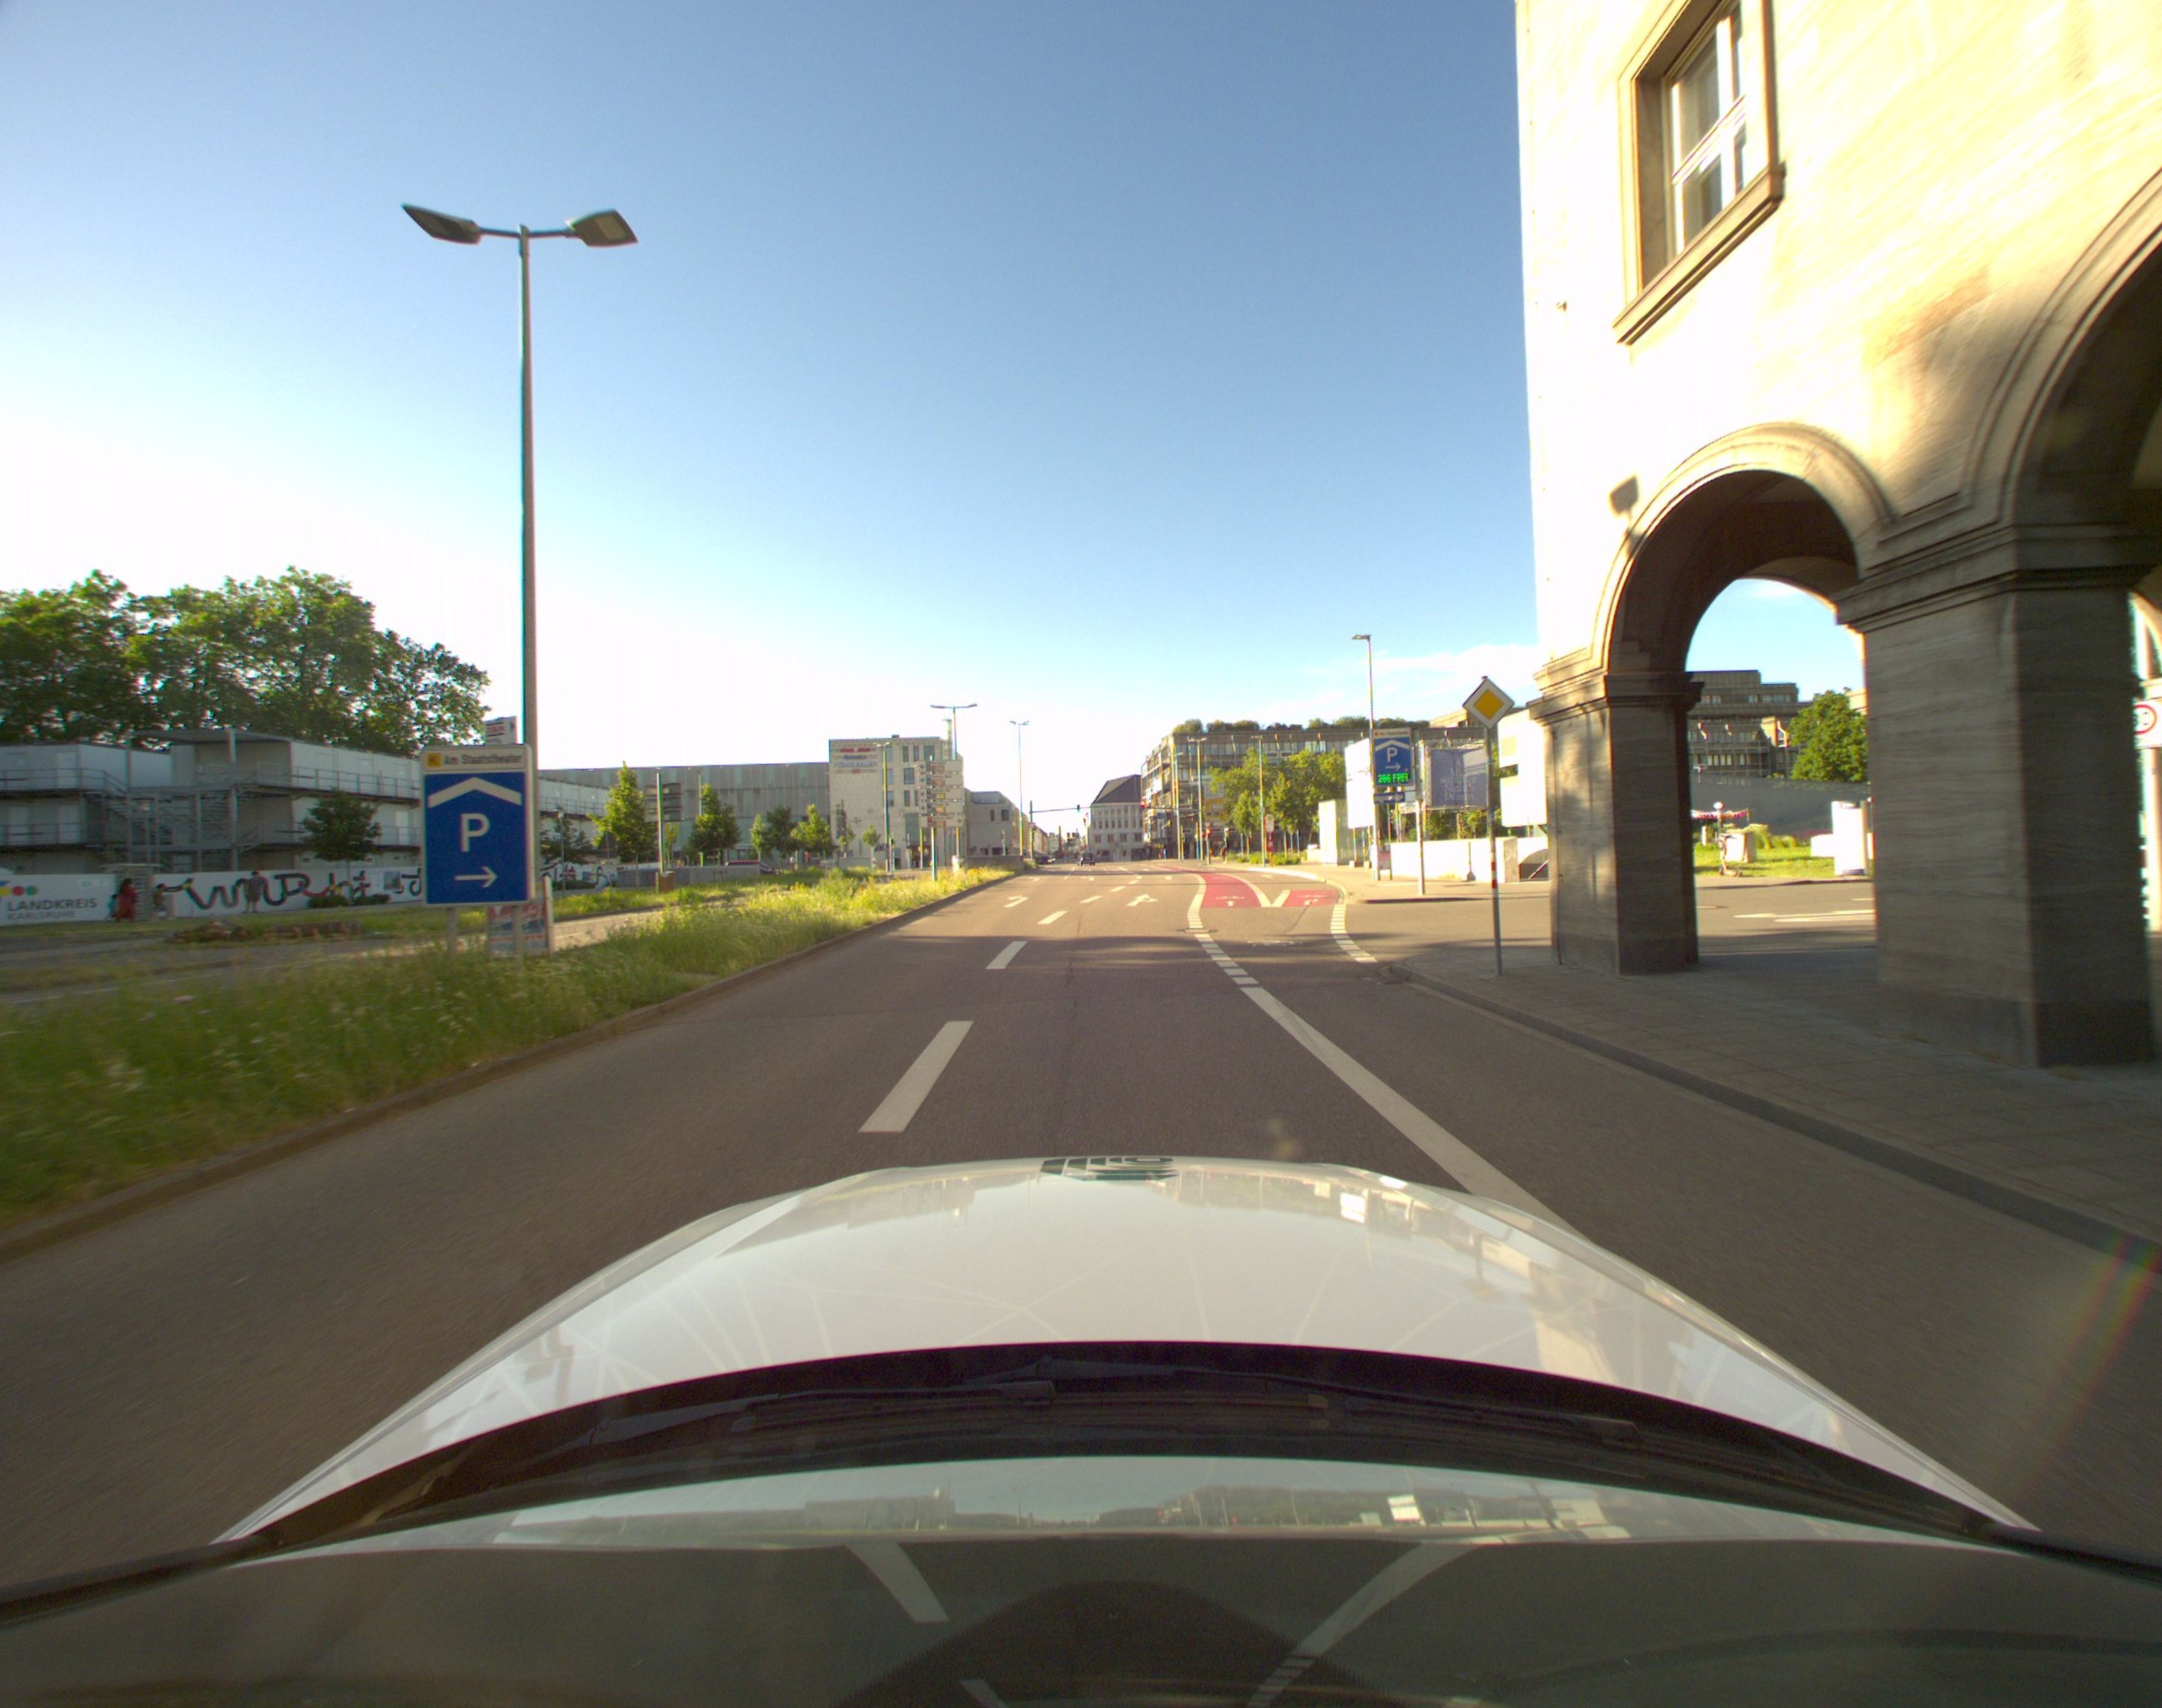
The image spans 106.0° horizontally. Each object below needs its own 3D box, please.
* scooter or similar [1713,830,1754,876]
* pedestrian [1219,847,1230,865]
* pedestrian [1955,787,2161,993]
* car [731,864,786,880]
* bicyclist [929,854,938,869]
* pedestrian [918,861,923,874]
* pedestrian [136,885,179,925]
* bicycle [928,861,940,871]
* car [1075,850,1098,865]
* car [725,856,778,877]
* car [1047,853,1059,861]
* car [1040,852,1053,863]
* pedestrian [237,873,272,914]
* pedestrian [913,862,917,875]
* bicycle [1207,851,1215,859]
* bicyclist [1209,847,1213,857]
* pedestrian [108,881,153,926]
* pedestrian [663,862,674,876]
[{"bbox_3d":[18.547,-0.032,23.155,0.358,1.245,1.375,-3,0,16],"label":"scooter or similar"},{"bbox_3d":[14.399,0.162,81.528,0.814,1.748,1.047,-3,-1,22],"label":"pedestrian"},{"bbox_3d":[8.200,0.271,6.786,0.774,1.569,0.952,-2,0,-2],"label":"pedestrian"},{"bbox_3d":[-31.318,1.749,79.151,4.636,1.375,1.867,-2,-2,-8],"label":"car"},{"bbox_3d":[-14.541,0.709,80.397,0.604,1.489,0.682,-2,0,6],"label":"bicyclist"},{"bbox_3d":[-25.218,2.177,127.921,0.622,2.013,0.515,-2,0,-8],"label":"pedestrian"},{"bbox_3d":[-33.655,1.834,29.690,0.578,1.378,0.835,-2,0,-2],"label":"pedestrian"},{"bbox_3d":[-14.524,1.196,80.365,0.609,0.861,1.954,-2,0,6],"label":"bicycle"},{"bbox_3d":[0.553,0.393,89.587,1.777,1.564,3.775,-2,0,-11],"label":"car"},{"bbox_3d":[-33.461,1.274,82.816,4.636,1.810,1.867,-2,-2,-8],"label":"car"},{"bbox_3d":[-5.283,0.562,155.103,1.987,1.356,4.646,-2,1,0],"label":"car"},{"bbox_3d":[-5.966,0.622,139.923,1.987,1.742,4.646,-2,1,0],"label":"car"},{"bbox_3d":[-35.247,1.681,34.731,0.578,1.688,0.835,-2,0,-2],"label":"pedestrian"},{"bbox_3d":[-25.973,2.241,127.451,0.622,2.013,0.515,-2,0,-8],"label":"pedestrian"},{"bbox_3d":[18.289,0.146,114.816,1.072,0.971,0.458,-2,0,2],"label":"bicycle"},{"bbox_3d":[18.327,-0.292,114.821,0.506,1.338,0.453,-2,0,3],"label":"bicyclist"},{"bbox_3d":[-34.320,1.776,29.425,0.578,1.558,0.835,-2,0,-2],"label":"pedestrian"},{"bbox_3d":[-46.216,1.684,91.216,0.800,1.502,0.722,-2,0,-7],"label":"pedestrian"}]
